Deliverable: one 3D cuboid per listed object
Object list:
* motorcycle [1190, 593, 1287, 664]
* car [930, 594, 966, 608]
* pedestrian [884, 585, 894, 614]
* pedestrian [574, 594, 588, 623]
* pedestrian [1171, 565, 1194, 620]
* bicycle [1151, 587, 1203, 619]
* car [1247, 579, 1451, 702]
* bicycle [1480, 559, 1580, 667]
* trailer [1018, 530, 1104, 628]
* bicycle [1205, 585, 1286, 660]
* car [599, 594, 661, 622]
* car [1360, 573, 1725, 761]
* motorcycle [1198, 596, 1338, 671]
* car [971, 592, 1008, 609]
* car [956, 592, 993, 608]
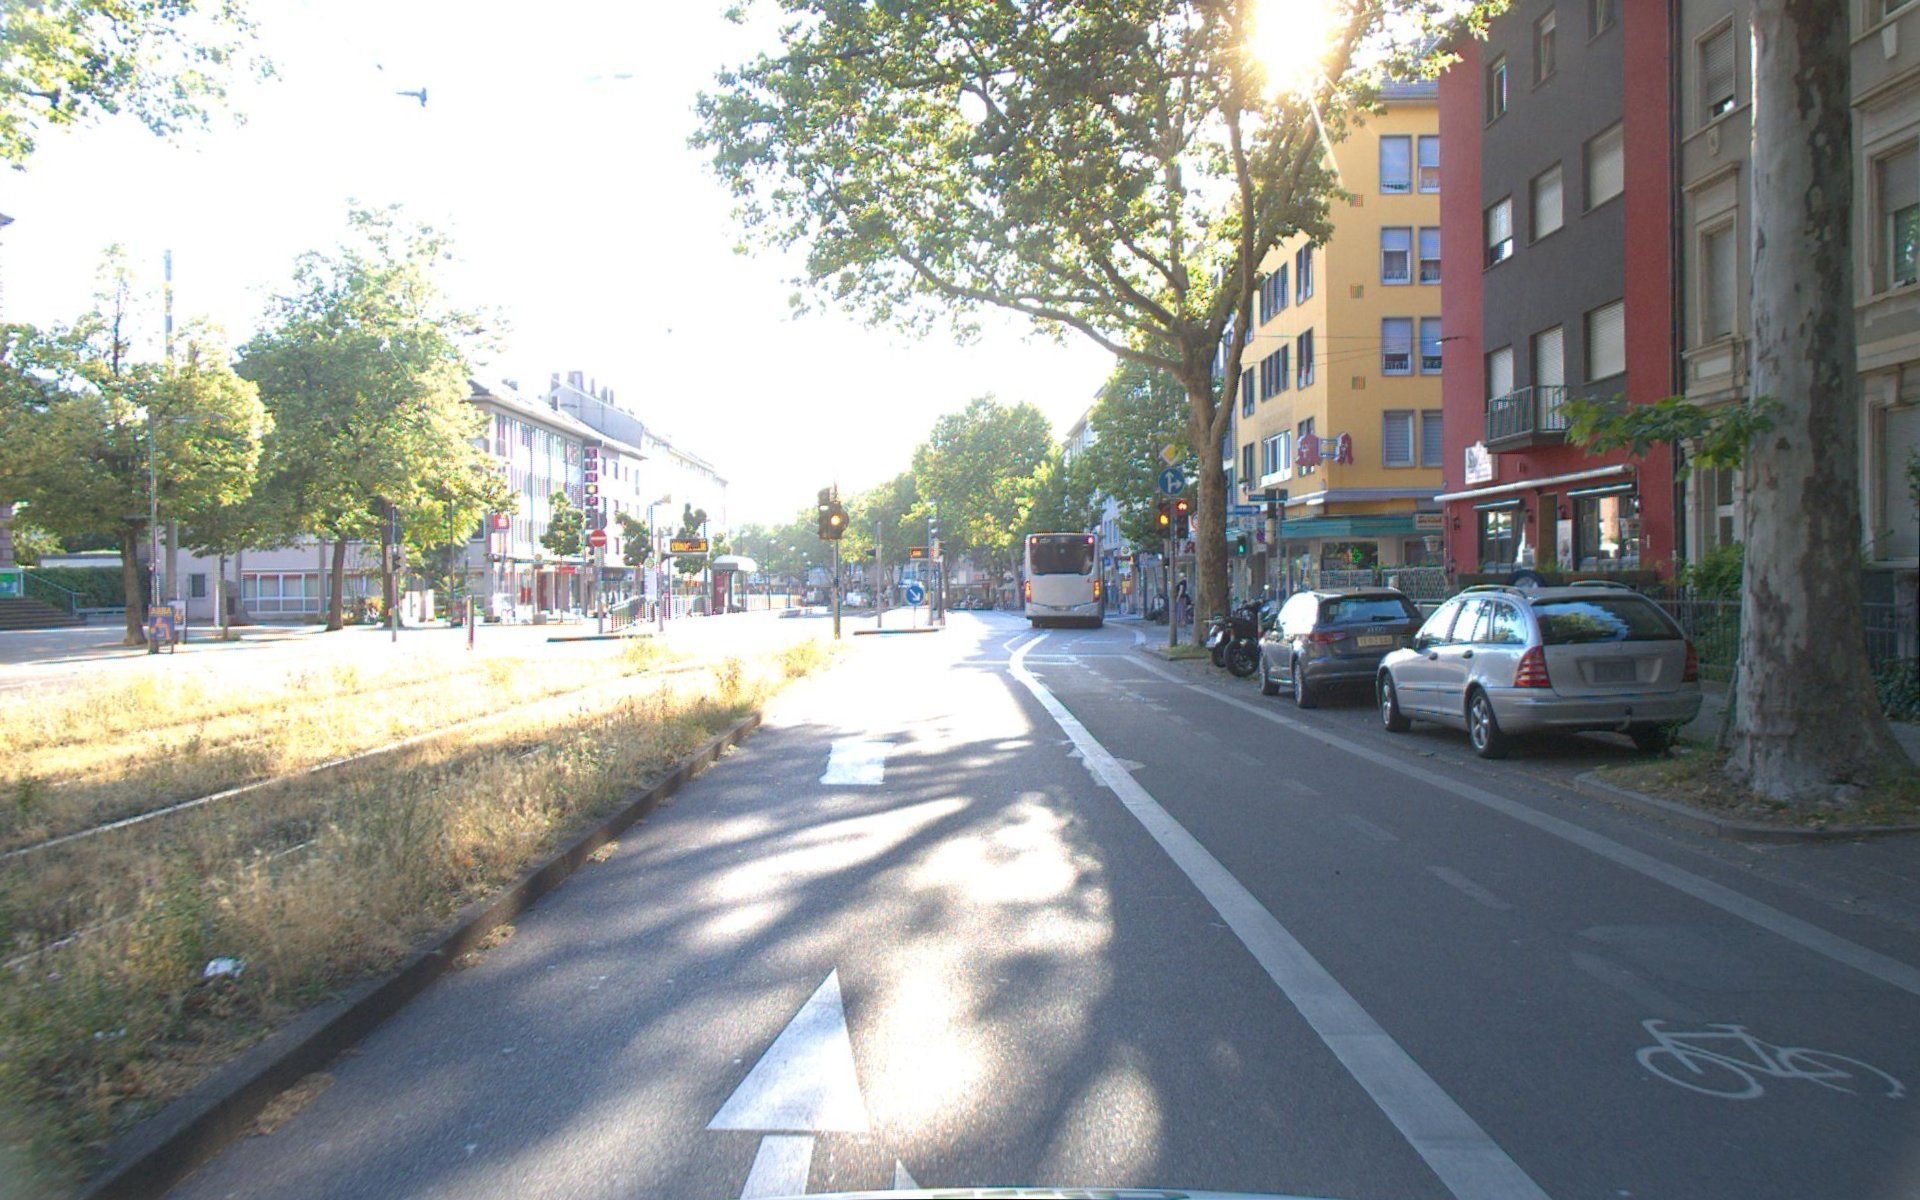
[{"bbox_3d":[4.955,0.489,29.345,1.982,1.172,0.592,-2,1,-43],"label":"motorcycle"},{"bbox_3d":[-1.412,0.103,193.928,3.847,1.624,1.675,-1,1,-29],"label":"car"},{"bbox_3d":[-2.187,-0.013,50.880,0.285,0.890,0.344,1,0,-3],"label":"pedestrian"},{"bbox_3d":[-26.420,0.586,115.224,0.693,2.049,0.949,0,0,6],"label":"pedestrian"},{"bbox_3d":[7.391,-0.239,55.002,0.666,1.801,0.687,-1,0,0],"label":"pedestrian"},{"bbox_3d":[7.689,0.106,58.650,1.736,1.039,0.694,-3,0,-1],"label":"bicycle"},{"bbox_3d":[5.003,0.455,21.823,1.675,1.421,4.322,-1,1,0],"label":"car"},{"bbox_3d":[8.136,0.169,23.705,0.594,1.451,2.396,1,0,0],"label":"bicycle"},{"bbox_3d":[3.612,-0.730,58.558,2.753,3.164,8.799,1,0,4],"label":"trailer"},{"bbox_3d":[5.312,0.399,30.726,0.683,1.224,1.839,1,4,38],"label":"bicycle"},{"bbox_3d":[-23.383,0.569,117.212,3.939,1.847,1.983,-1,1,-27],"label":"car"},{"bbox_3d":[5.233,0.508,15.559,1.640,1.477,4.569,-1,1,-2],"label":"car"},{"bbox_3d":[5.060,0.531,27.170,2.176,1.081,0.762,-3,1,-23],"label":"motorcycle"},{"bbox_3d":[3.326,0.039,186.219,3.847,1.729,1.816,-1,1,-29],"label":"car"},{"bbox_3d":[1.620,-0.004,189.351,3.847,1.729,1.816,-1,1,-29],"label":"car"}]
